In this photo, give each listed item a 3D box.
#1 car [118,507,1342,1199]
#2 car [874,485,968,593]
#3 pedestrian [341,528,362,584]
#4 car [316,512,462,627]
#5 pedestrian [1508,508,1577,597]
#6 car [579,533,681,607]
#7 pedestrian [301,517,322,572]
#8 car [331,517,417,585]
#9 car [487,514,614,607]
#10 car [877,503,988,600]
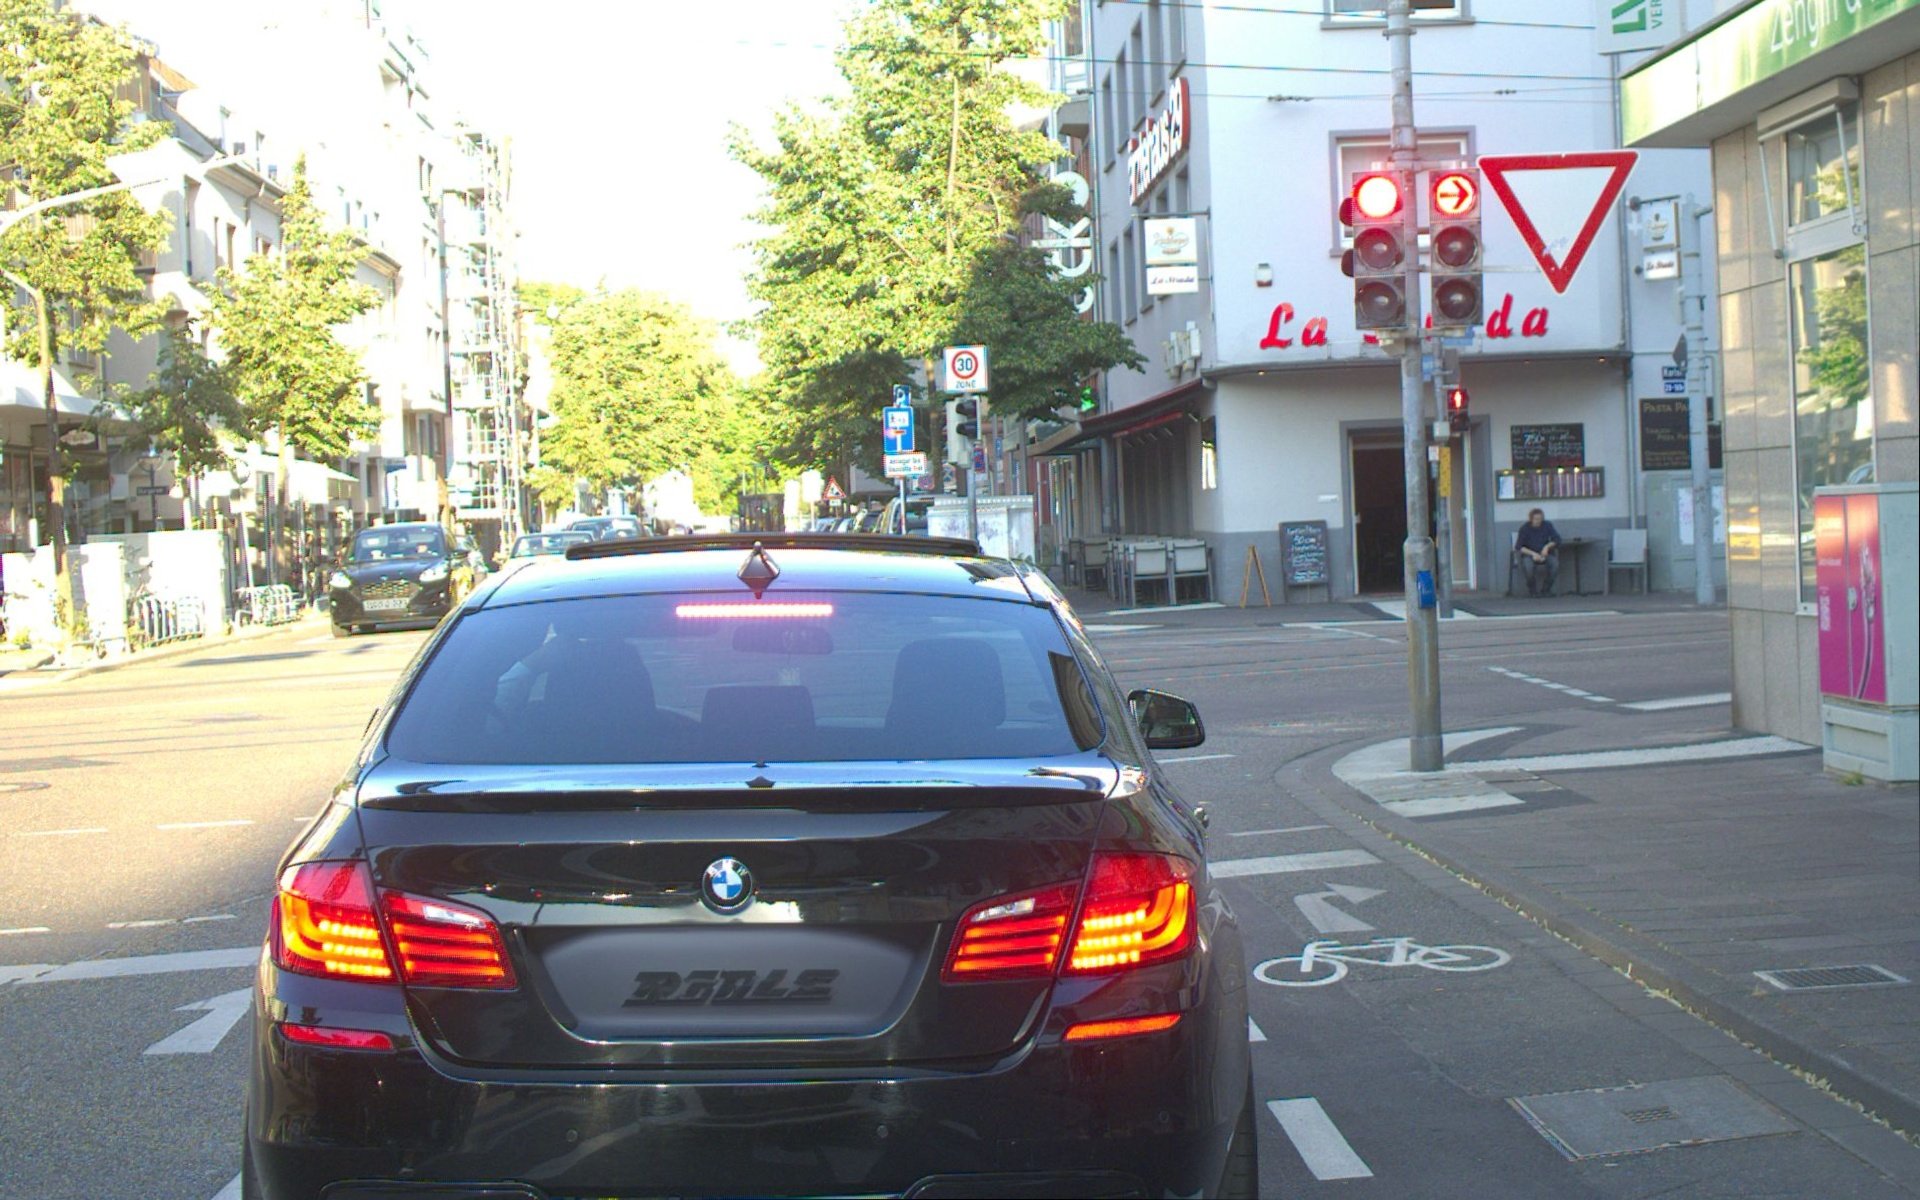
[{"bbox_3d":[-0.470,0.575,7.614,1.903,1.535,4.450,1,2,-3],"label":"car"},{"bbox_3d":[-0.719,-1.081,60.997,1.421,1.848,3.053,-1,1,-5],"label":"car"},{"bbox_3d":[-15.792,-1.146,89.256,0.444,1.411,0.525,-2,1,-4],"label":"pedestrian"},{"bbox_3d":[-8.631,-0.487,52.239,1.993,1.612,4.001,-2,1,-7],"label":"car"},{"bbox_3d":[7.845,-0.643,46.318,0.697,1.153,0.844,-2,1,-3],"label":"pedestrian"},{"bbox_3d":[-6.214,-0.582,64.448,1.733,1.288,4.001,-2,1,-7],"label":"car"},{"bbox_3d":[-16.687,-1.431,88.517,0.444,1.411,0.525,-1,1,-4],"label":"pedestrian"},{"bbox_3d":[-13.452,-1.146,79.018,1.733,1.456,4.001,-2,1,-7],"label":"car"},{"bbox_3d":[-6.892,-0.684,57.675,1.993,1.437,4.001,-2,1,-7],"label":"car"},{"bbox_3d":[-0.468,-0.770,54.601,1.625,1.466,3.395,-1,1,-2],"label":"car"}]
